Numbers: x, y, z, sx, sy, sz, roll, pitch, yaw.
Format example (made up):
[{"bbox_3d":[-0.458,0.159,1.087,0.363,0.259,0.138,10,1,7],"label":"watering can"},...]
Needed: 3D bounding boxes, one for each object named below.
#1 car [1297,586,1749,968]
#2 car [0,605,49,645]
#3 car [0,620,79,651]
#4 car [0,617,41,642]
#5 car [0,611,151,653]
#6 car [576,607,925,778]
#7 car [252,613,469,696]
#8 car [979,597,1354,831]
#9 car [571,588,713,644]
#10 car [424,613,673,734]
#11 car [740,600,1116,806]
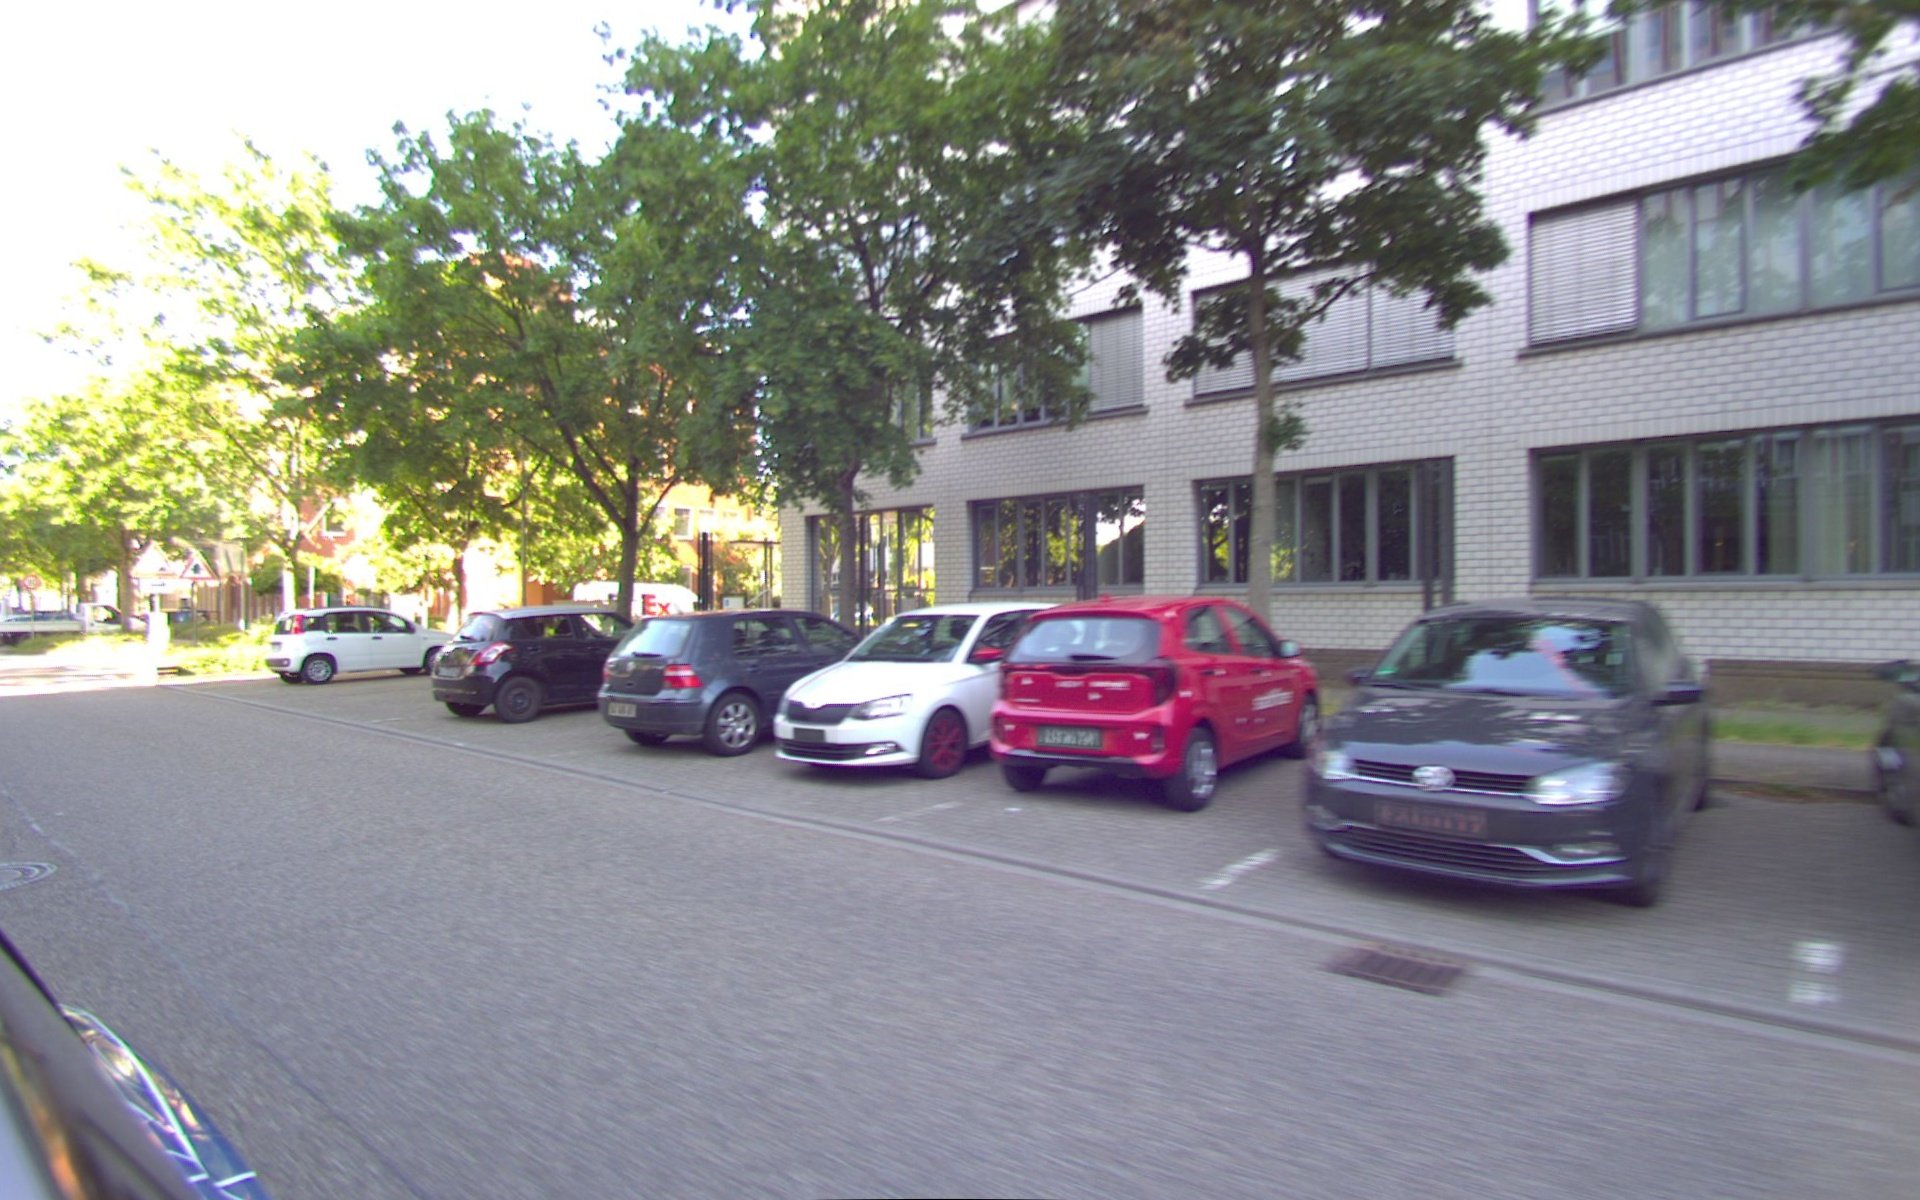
[{"bbox_3d":[3.435,0.684,5.845,1.656,1.447,3.494,-1,1,40],"label":"car"},{"bbox_3d":[-53.436,1.394,56.235,1.998,2.122,3.947,-1,0,39],"label":"car"},{"bbox_3d":[-47.673,1.789,51.635,1.953,1.483,3.915,-1,0,43],"label":"car"},{"bbox_3d":[-57.176,1.753,59.887,1.593,1.425,3.947,-1,-1,39],"label":"car"},{"bbox_3d":[-38.408,1.336,43.740,1.953,1.637,5.183,-1,0,43],"label":"car"},{"bbox_3d":[-2.165,0.861,11.116,1.645,1.517,3.494,-1,0,40],"label":"car"},{"bbox_3d":[-12.452,1.058,21.179,1.616,1.519,3.585,-1,0,39],"label":"car"},{"bbox_3d":[1.859,0.728,8.318,1.655,1.456,3.496,-1,0,38],"label":"car"},{"bbox_3d":[-12.675,0.580,40.611,1.931,2.114,5.262,-1,0,39],"label":"car"},{"bbox_3d":[-5.614,0.923,13.988,1.389,1.454,2.895,-1,-1,41],"label":"car"},{"bbox_3d":[-0.156,0.812,9.613,1.656,1.541,3.482,-2,-1,40],"label":"car"}]
